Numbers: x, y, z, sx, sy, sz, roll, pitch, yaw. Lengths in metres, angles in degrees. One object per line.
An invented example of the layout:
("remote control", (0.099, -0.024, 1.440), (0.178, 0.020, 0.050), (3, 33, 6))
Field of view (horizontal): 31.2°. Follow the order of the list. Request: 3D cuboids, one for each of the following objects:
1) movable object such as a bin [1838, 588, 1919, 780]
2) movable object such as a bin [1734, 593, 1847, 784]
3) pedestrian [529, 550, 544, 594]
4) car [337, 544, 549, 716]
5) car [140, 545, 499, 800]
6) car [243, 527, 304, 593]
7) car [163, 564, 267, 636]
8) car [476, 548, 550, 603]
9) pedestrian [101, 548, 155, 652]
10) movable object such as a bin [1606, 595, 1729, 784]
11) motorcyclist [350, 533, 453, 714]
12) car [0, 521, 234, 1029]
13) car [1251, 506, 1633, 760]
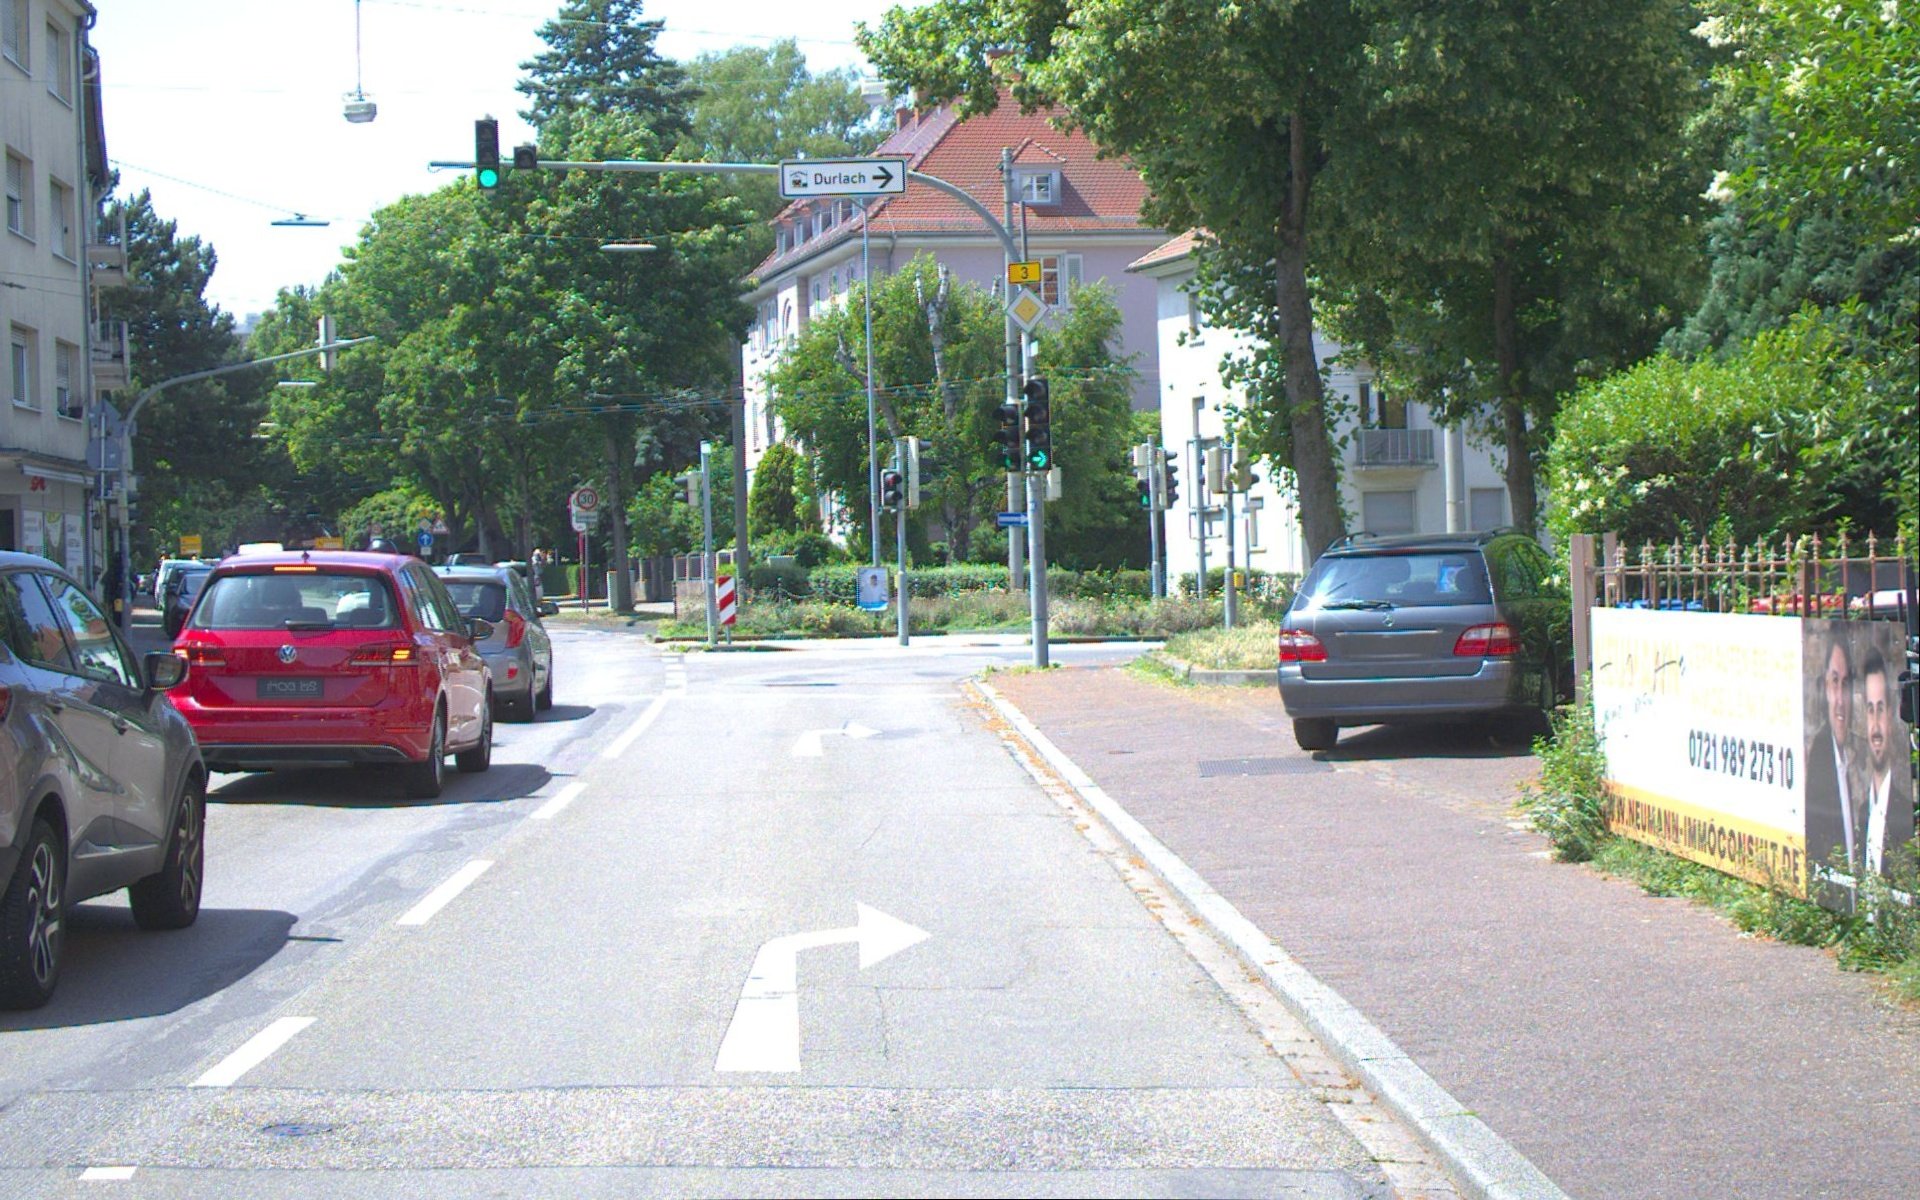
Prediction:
("movable object such as a bin", (5.420, 0.476, 19.865), (0.575, 1.068, 0.705), (-1, 1, 8))
("movable object such as a bin", (4.829, 0.507, 20.020), (0.552, 1.068, 0.705), (-1, 1, 8))
("pedestrian", (-16.044, -1.057, 130.300), (0.508, 1.650, 0.466), (-1, 1, -9))
("car", (-5.009, 0.254, 33.764), (1.798, 1.552, 4.038), (-1, 1, -5))
("car", (-4.216, 0.426, 23.200), (1.799, 1.552, 4.038), (-1, 1, -2))
("car", (-28.304, -1.608, 141.588), (2.215, 2.492, 7.556), (-5, 1, -12))
("car", (-16.395, 0.015, 75.519), (1.993, 1.514, 4.001), (-1, 0, -15))
("car", (-15.080, -0.825, 115.833), (1.993, 1.801, 4.001), (-1, 1, -14))
("pedestrian", (-15.752, -0.006, 65.090), (0.935, 1.925, 0.977), (-1, 0, -14))
("movable object such as a bin", (4.137, 0.514, 20.125), (0.649, 1.068, 0.637), (-1, 1, 8))
("motorcyclist", (-4.576, 0.182, 28.214), (0.711, 1.440, 1.019), (-1, 1, -3))
("car", (-3.997, 0.540, 12.907), (1.753, 1.626, 4.000), (-1, 1, -1))
("car", (3.664, 0.163, 25.264), (1.836, 1.543, 5.152), (-2, 2, 18))
